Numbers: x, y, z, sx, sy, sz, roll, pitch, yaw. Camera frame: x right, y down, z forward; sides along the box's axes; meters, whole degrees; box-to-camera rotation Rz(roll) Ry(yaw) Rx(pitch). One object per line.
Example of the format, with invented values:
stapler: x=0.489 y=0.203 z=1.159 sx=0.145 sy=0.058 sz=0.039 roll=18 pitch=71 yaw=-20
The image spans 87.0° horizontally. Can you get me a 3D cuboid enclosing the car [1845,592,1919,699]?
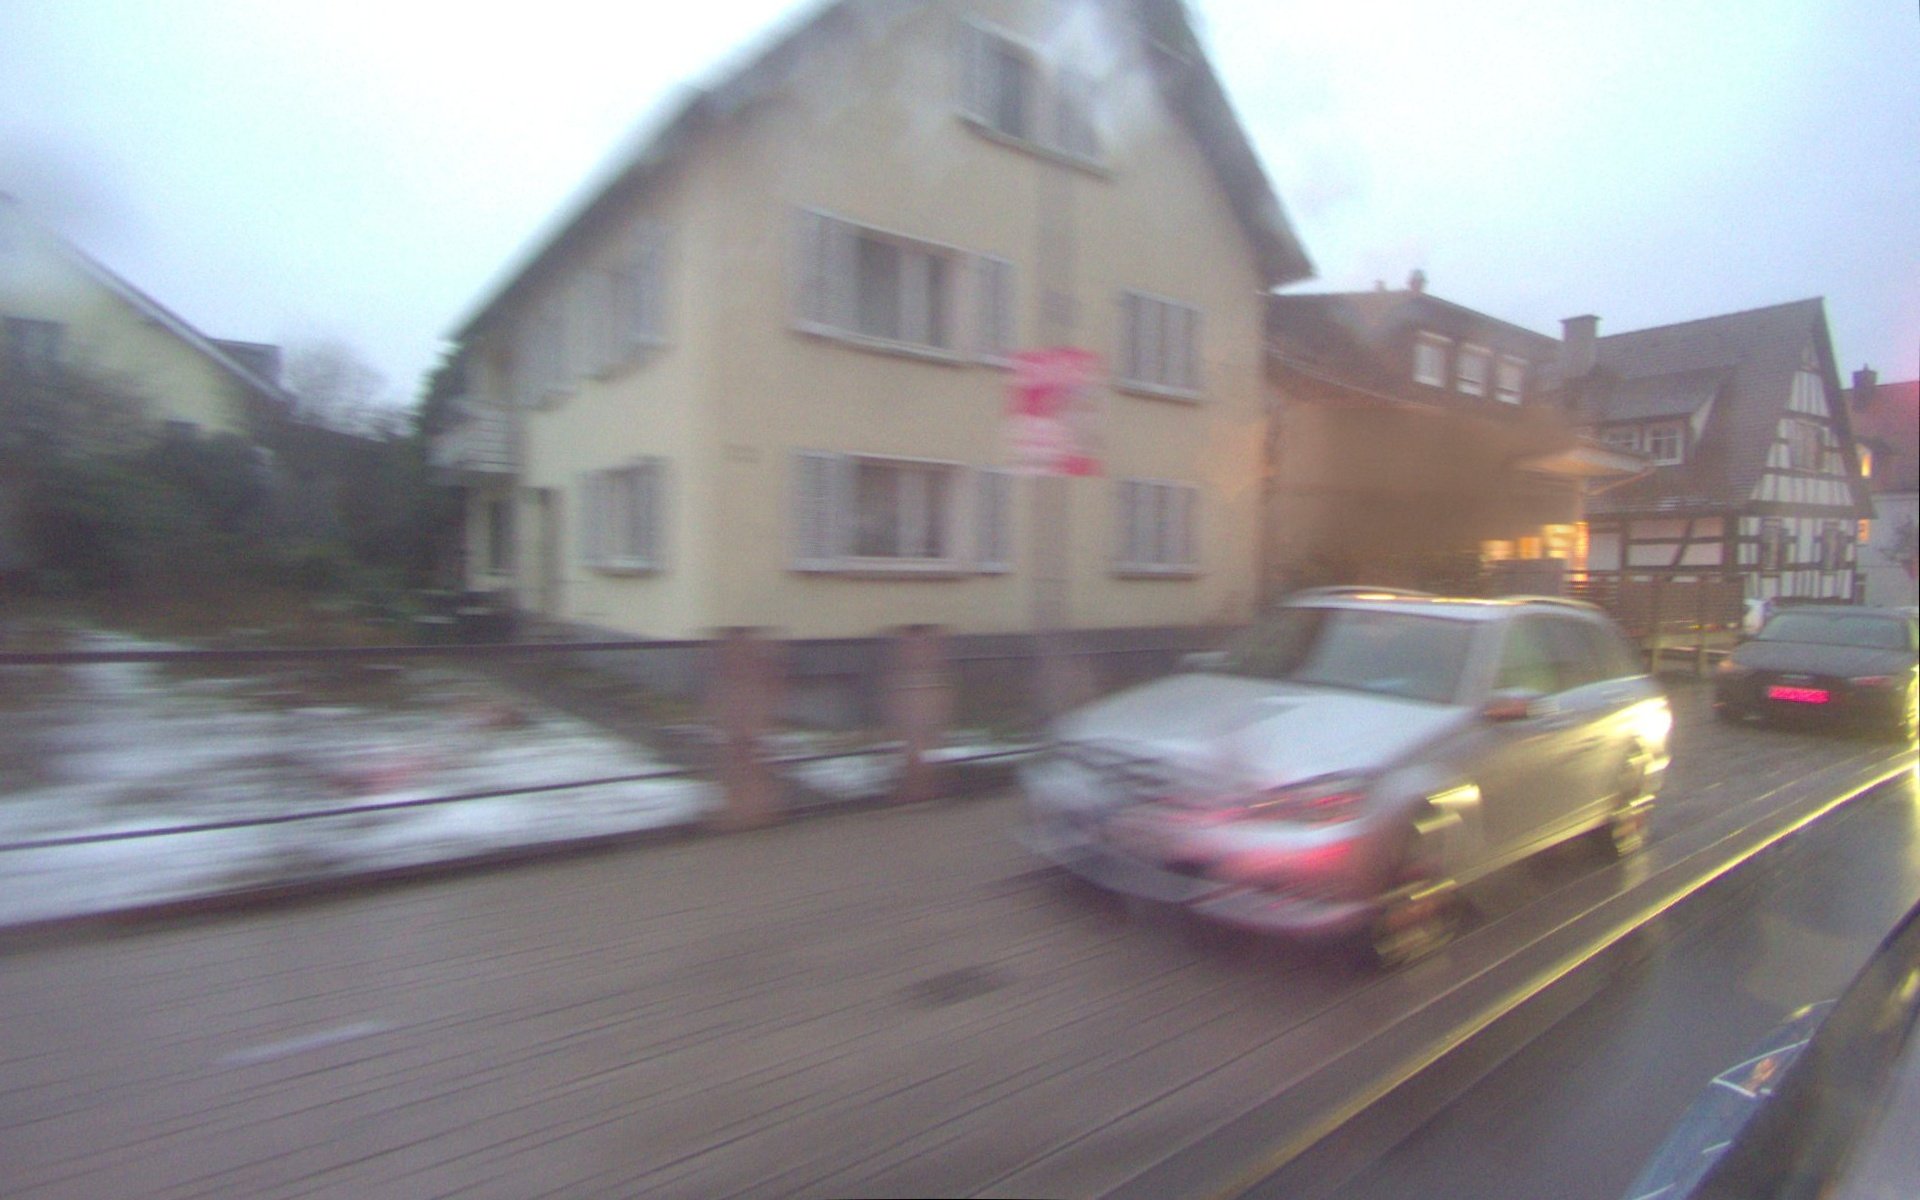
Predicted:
car: x=15.108 y=0.680 z=15.366 sx=3.728 sy=1.459 sz=1.632 roll=0 pitch=4 yaw=-36

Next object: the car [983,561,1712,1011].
car: x=2.394 y=0.606 z=5.557 sx=4.451 sy=1.478 sz=1.798 roll=0 pitch=3 yaw=-41

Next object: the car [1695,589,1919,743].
car: x=10.786 y=0.653 z=12.283 sx=4.525 sy=1.440 sz=1.828 roll=0 pitch=4 yaw=-39

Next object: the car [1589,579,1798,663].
car: x=15.907 y=0.384 z=22.073 sx=1.656 sy=1.458 sz=3.301 roll=0 pitch=5 yaw=-38
